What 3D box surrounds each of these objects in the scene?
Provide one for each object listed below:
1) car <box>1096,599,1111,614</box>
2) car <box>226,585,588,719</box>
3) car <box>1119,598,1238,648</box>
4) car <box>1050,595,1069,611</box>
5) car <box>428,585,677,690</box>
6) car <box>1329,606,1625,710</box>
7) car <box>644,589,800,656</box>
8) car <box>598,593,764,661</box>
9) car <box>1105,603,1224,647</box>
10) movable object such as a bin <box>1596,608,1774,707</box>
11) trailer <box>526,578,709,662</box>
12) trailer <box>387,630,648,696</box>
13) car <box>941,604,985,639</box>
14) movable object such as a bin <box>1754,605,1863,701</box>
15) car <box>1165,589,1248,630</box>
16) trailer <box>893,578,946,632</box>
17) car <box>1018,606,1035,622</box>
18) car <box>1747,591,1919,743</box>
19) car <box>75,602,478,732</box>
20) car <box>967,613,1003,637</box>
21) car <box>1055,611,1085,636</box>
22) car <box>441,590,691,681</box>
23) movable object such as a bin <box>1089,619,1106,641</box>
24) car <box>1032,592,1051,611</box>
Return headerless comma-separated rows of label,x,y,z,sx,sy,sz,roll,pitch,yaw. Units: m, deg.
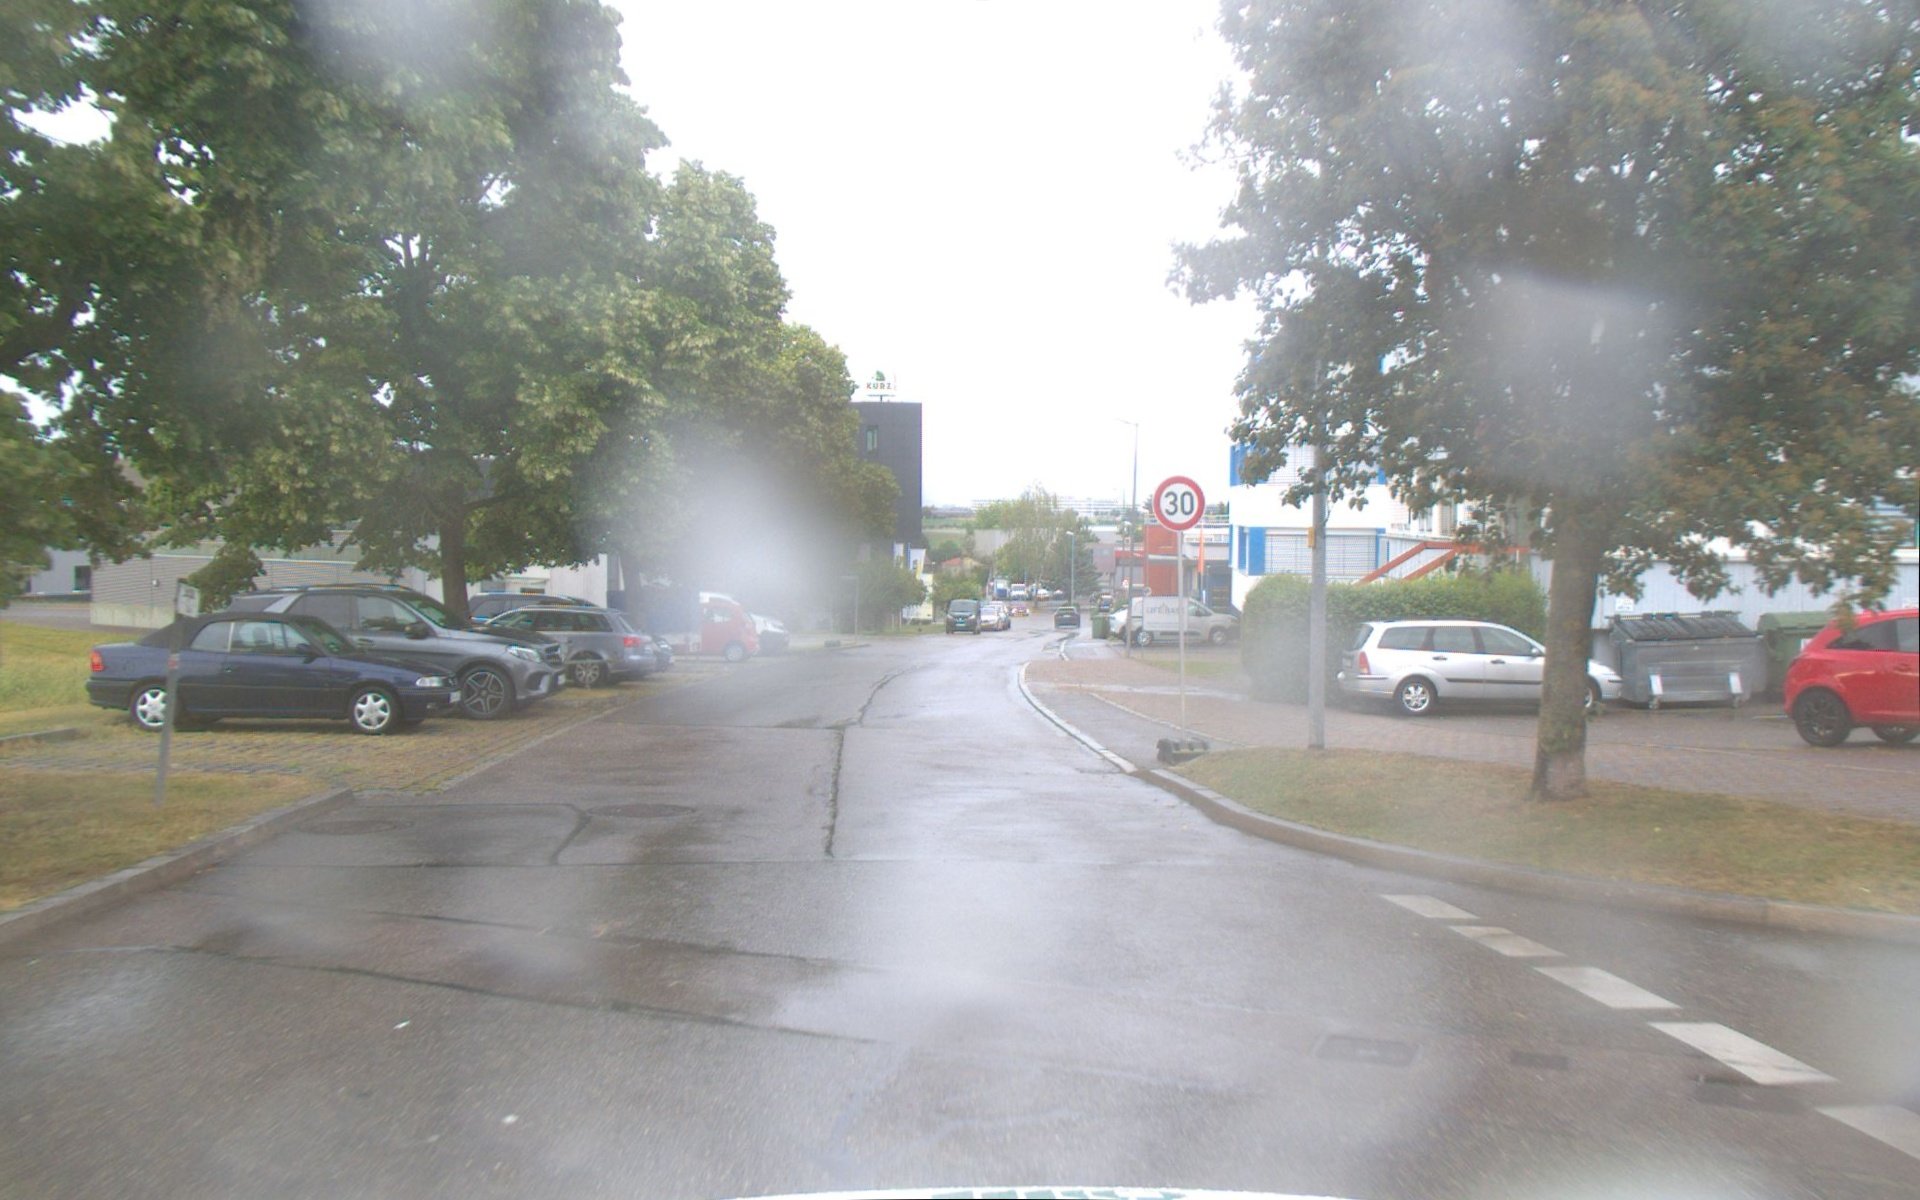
car,15.814,0.720,182.296,1.661,1.501,4.002,0,-1,5
car,-7.473,0.695,22.729,4.279,1.752,2.044,0,-1,-1
car,8.104,0.846,61.600,4.249,1.804,2.090,0,-1,3
car,13.160,0.364,218.702,2.102,2.049,3.938,0,-1,-1
car,-7.515,0.685,30.771,3.988,1.752,2.026,2,-1,4
car,8.264,0.919,26.728,4.223,1.612,1.859,0,-1,2
car,-6.998,0.680,48.906,4.208,1.939,1.863,0,-1,8
car,-7.355,0.715,43.936,4.110,1.752,1.755,0,-1,-1
car,7.969,0.985,64.711,4.500,1.565,2.080,-2,-1,5
movable object such as a bin,11.924,0.922,27.330,2.218,1.530,1.734,-2,-1,5
trailer,-8.478,0.501,41.124,4.124,2.019,1.774,0,-1,2
trailer,-7.439,1.049,28.089,3.860,0.978,2.000,1,0,0
car,0.181,1.167,91.156,1.875,1.863,4.851,0,-1,6
movable object such as a bin,13.997,0.867,27.320,1.277,1.522,1.029,-2,-1,5
car,16.507,0.642,111.036,5.190,2.047,2.223,-8,-2,5
trailer,-3.305,0.435,134.531,4.115,4.277,1.993,-1,-1,44
car,6.716,1.445,167.499,1.711,1.535,3.936,-2,-1,2
car,11.058,0.706,17.896,1.833,1.612,4.282,1,-3,-30
car,-8.141,0.804,20.029,4.130,1.456,1.772,1,-1,-6
car,1.633,1.588,105.732,1.914,1.487,5.250,0,0,5
car,7.655,1.684,115.741,1.915,1.705,4.473,0,-1,2
car,-7.875,0.702,33.320,4.521,1.617,1.806,2,-1,3
movable object such as a bin,6.545,1.433,78.729,0.755,1.048,0.809,0,0,7
car,10.718,0.230,217.899,2.149,2.502,3.997,0,-1,-3
